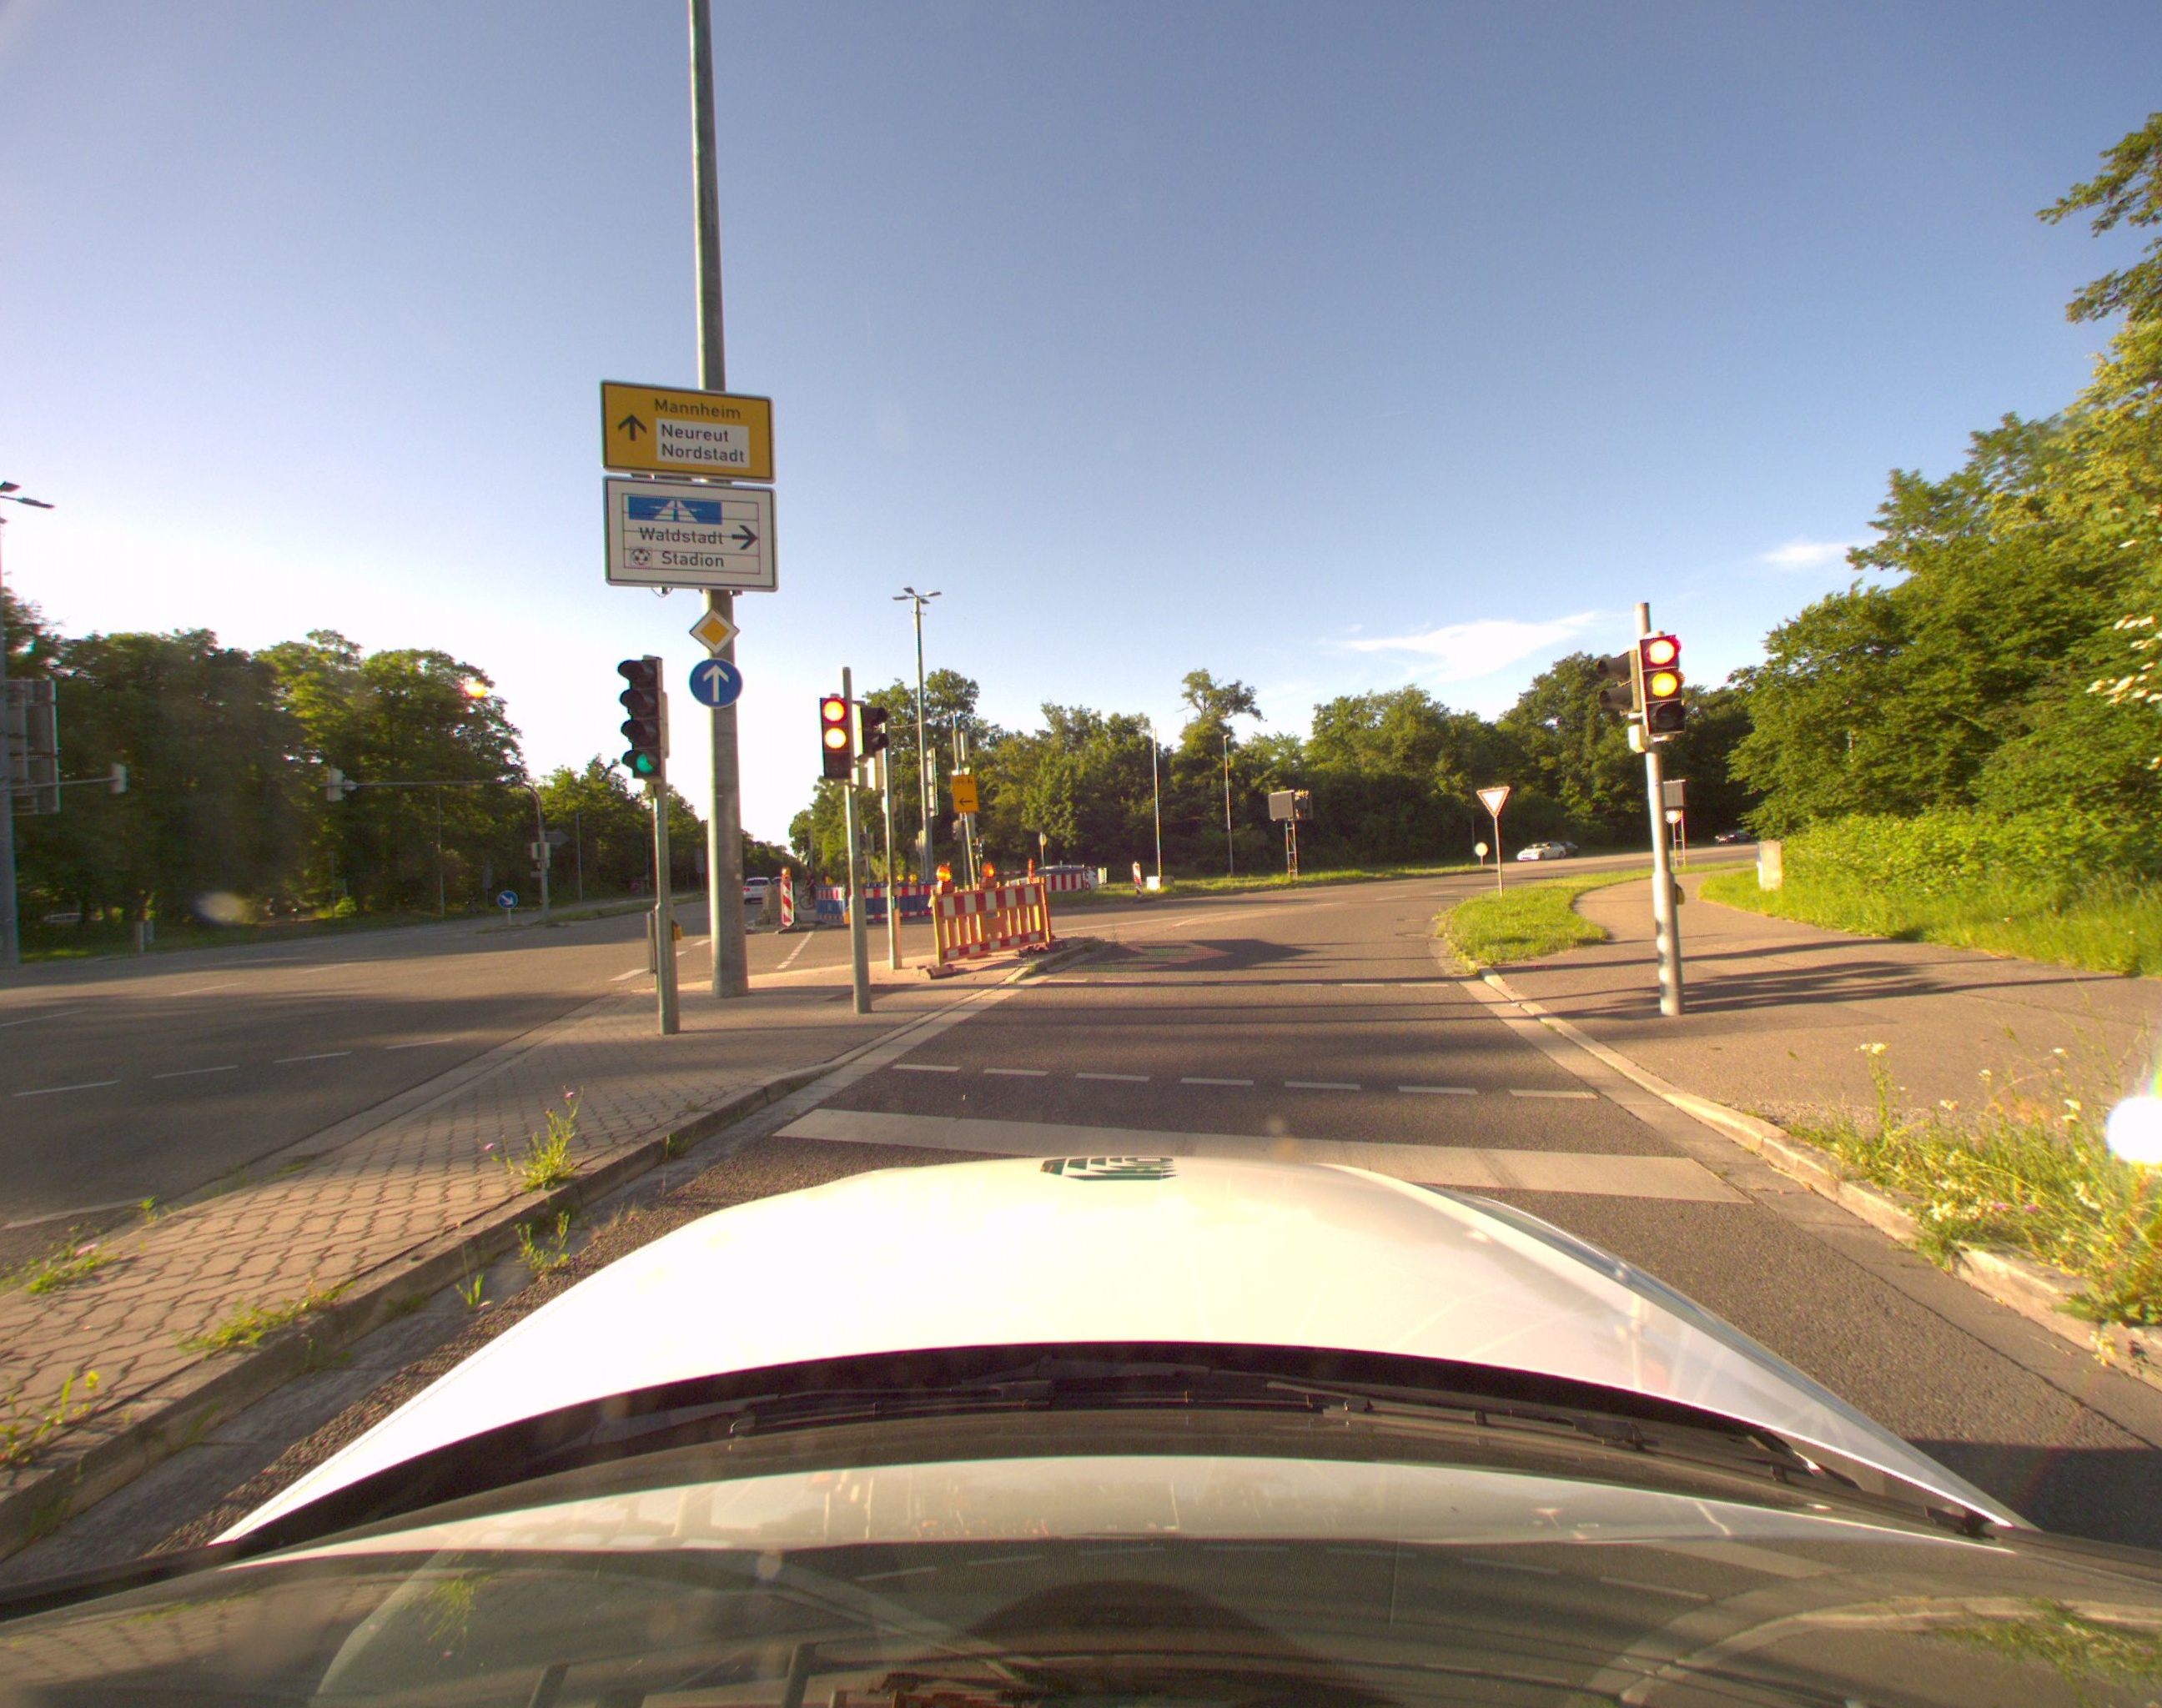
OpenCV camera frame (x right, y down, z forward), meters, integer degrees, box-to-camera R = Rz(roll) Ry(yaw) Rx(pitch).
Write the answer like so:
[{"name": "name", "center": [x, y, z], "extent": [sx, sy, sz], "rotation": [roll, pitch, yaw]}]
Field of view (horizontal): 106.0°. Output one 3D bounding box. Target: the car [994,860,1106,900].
[{"name": "car", "center": [-1.384, 1.176, 37.615], "extent": [4.856, 1.580, 1.977], "rotation": [-3, -1, -37]}]

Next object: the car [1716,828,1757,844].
[{"name": "car", "center": [70.006, -1.938, 86.960], "extent": [4.668, 1.529, 1.980], "rotation": [-3, -1, -32]}]

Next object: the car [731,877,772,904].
[{"name": "car", "center": [-19.179, 2.102, 47.500], "extent": [1.946, 1.414, 3.974], "rotation": [-3, -1, -19]}]

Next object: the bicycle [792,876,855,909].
[{"name": "bicycle", "center": [-11.995, 1.787, 38.026], "extent": [0.956, 1.383, 2.656], "rotation": [-3, -1, 43]}]

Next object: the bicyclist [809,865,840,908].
[{"name": "bicyclist", "center": [-11.986, 1.506, 38.062], "extent": [0.956, 1.930, 1.022], "rotation": [-3, -1, 43]}]

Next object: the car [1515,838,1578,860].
[{"name": "car", "center": [35.722, -0.412, 62.457], "extent": [4.822, 1.436, 1.980], "rotation": [-3, -1, -30]}]

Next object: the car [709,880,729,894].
[{"name": "car", "center": [-52.807, 4.803, 118.882], "extent": [1.998, 1.789, 4.224], "rotation": [-3, -1, -17]}]

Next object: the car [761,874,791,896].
[{"name": "car", "center": [-23.733, 2.398, 63.502], "extent": [2.000, 1.536, 3.974], "rotation": [-3, -1, -19]}]
